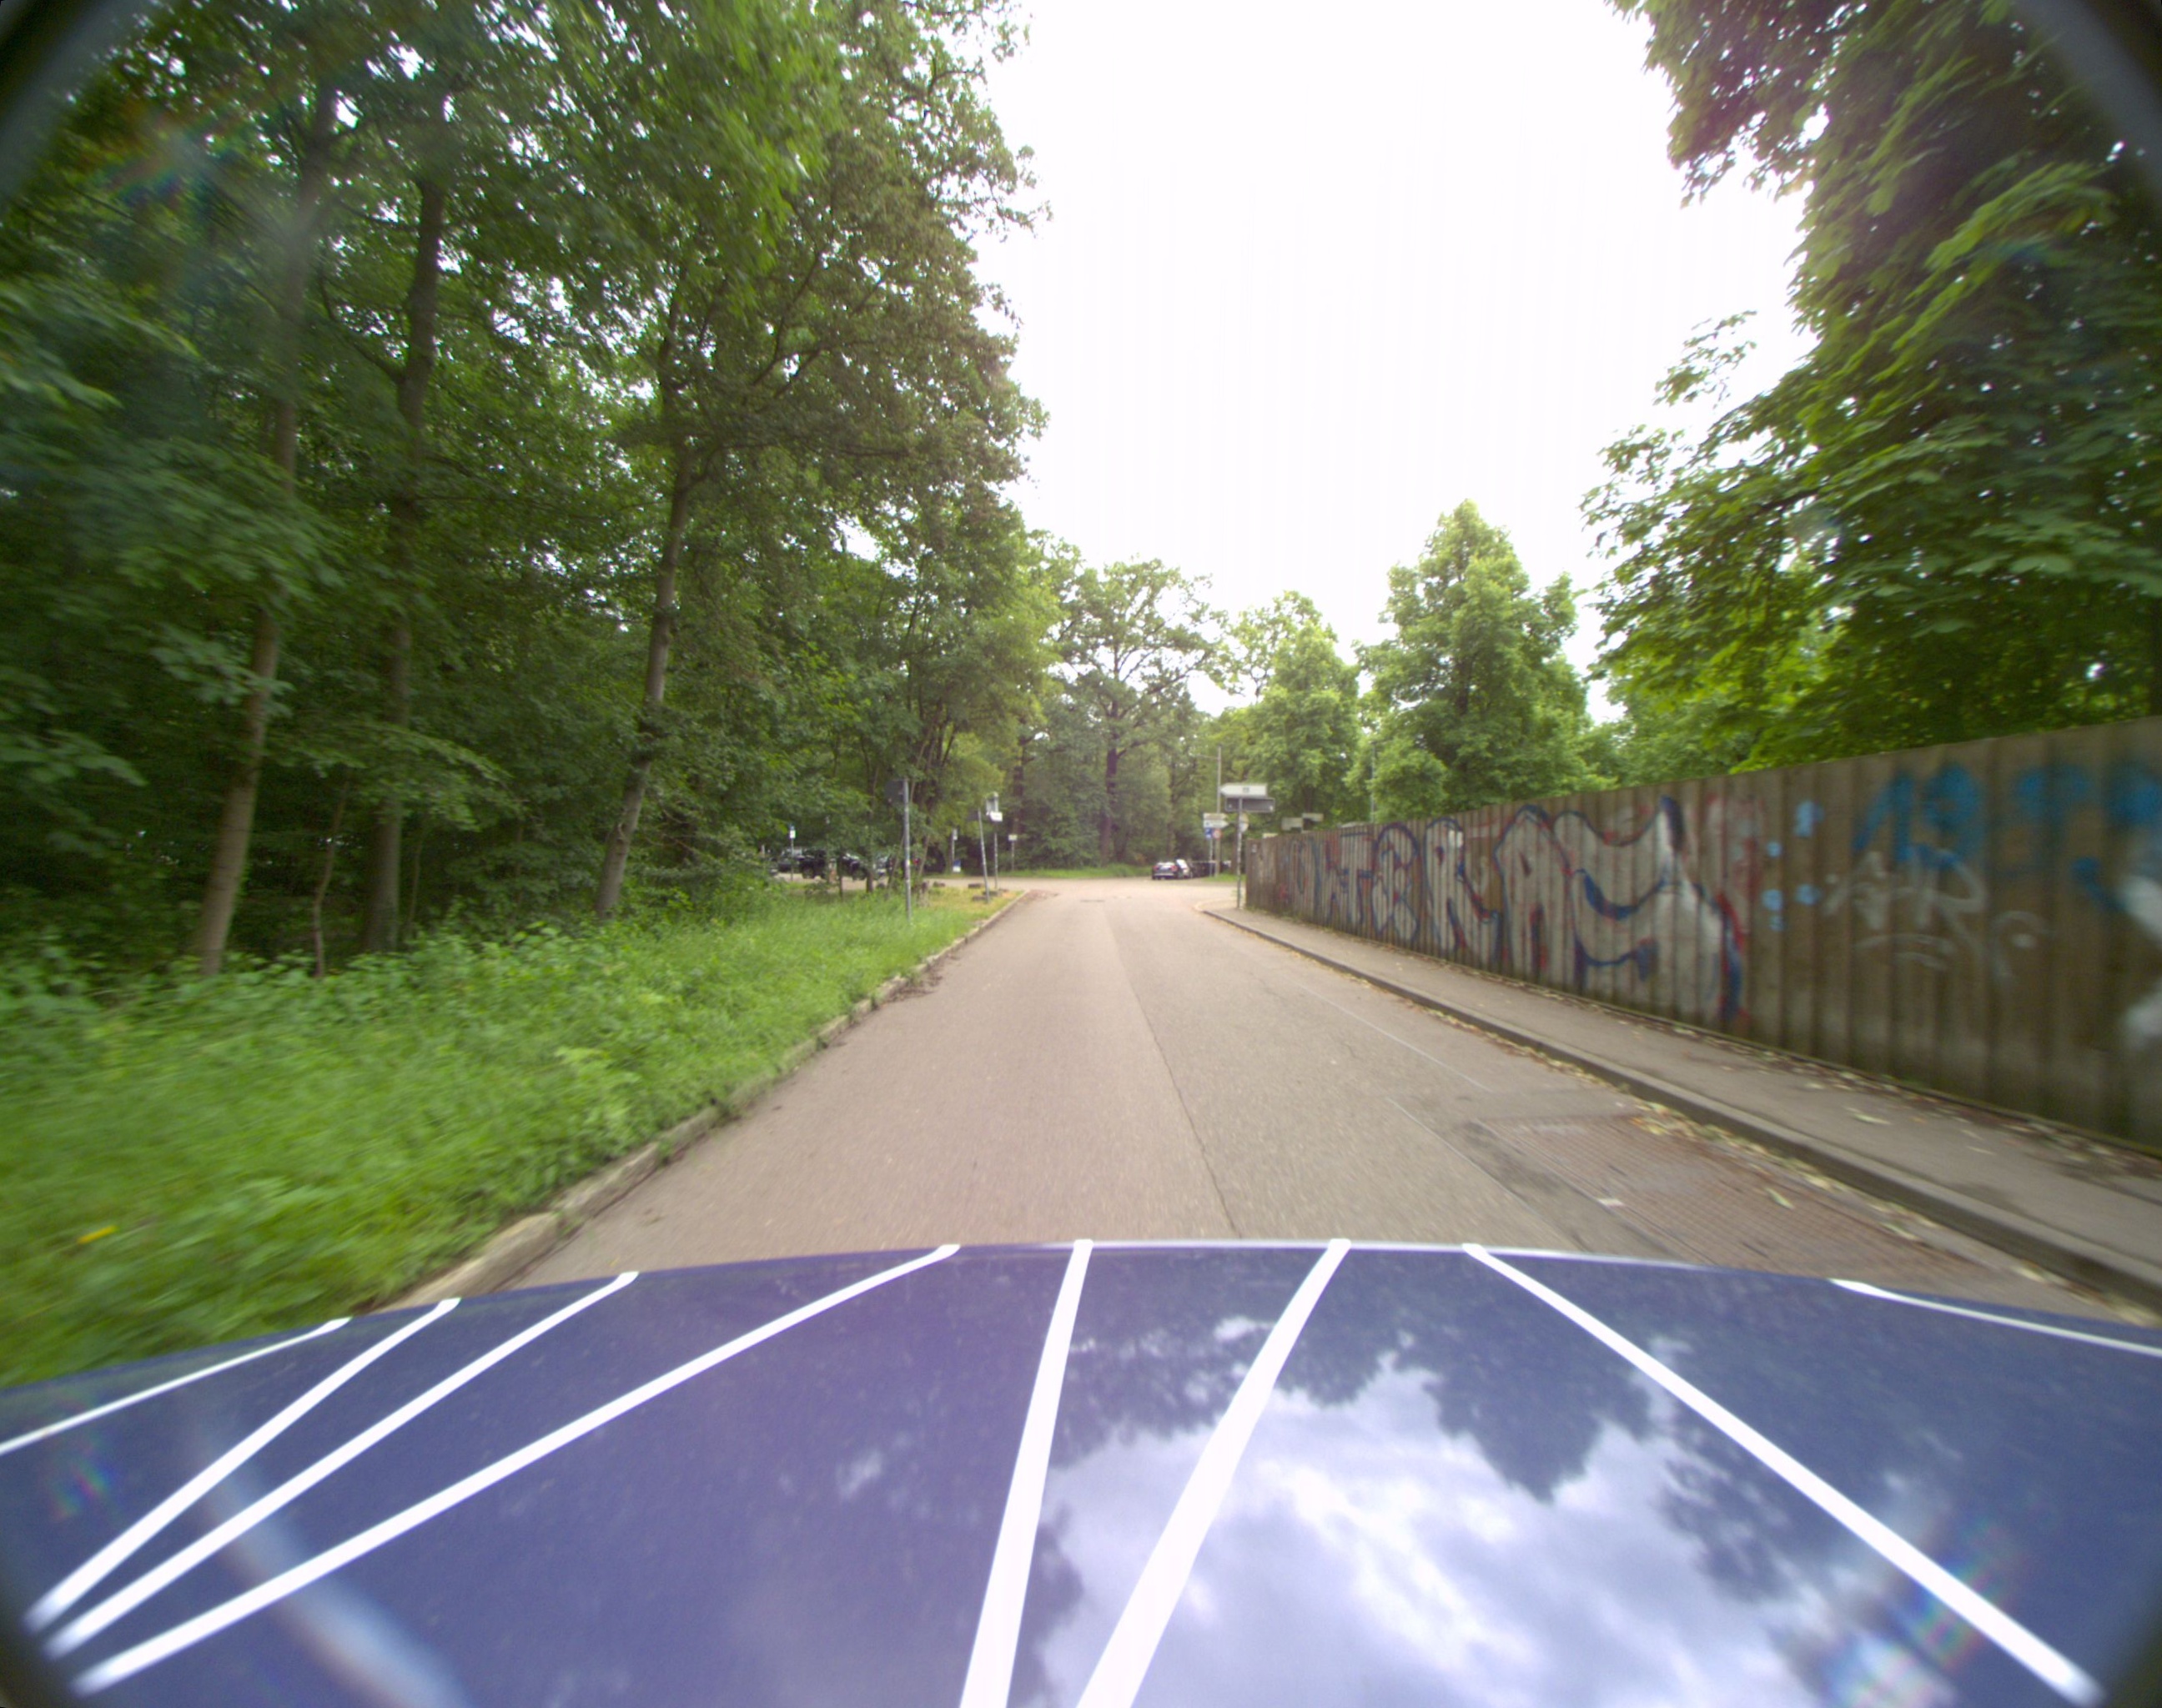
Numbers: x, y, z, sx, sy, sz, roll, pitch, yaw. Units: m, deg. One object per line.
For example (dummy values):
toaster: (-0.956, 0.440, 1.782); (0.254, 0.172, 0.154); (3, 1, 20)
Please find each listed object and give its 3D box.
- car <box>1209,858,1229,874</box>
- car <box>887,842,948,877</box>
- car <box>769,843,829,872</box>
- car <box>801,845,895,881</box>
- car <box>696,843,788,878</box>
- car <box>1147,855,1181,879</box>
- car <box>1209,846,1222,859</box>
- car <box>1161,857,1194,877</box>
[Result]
car: (14.649, 1.261, 80.899); (1.956, 1.609, 3.642); (2, 1, 9)
car: (-9.906, 0.328, 46.509); (1.887, 1.966, 4.522); (1, 0, 13)
car: (-17.776, 0.211, 48.164); (1.821, 1.755, 4.003); (1, 0, 9)
car: (-11.535, 0.440, 37.743); (4.092, 1.624, 1.817); (1, 2, 11)
car: (-17.348, 0.313, 38.965); (3.991, 1.624, 1.817); (1, 2, 11)
car: (5.519, 0.881, 50.279); (1.769, 1.485, 4.332); (0, -1, 12)
car: (27.027, -0.362, 152.523); (2.577, 2.520, 4.939); (0, 0, 11)
car: (7.003, 0.978, 55.019); (1.996, 1.411, 4.005); (0, -1, 12)
